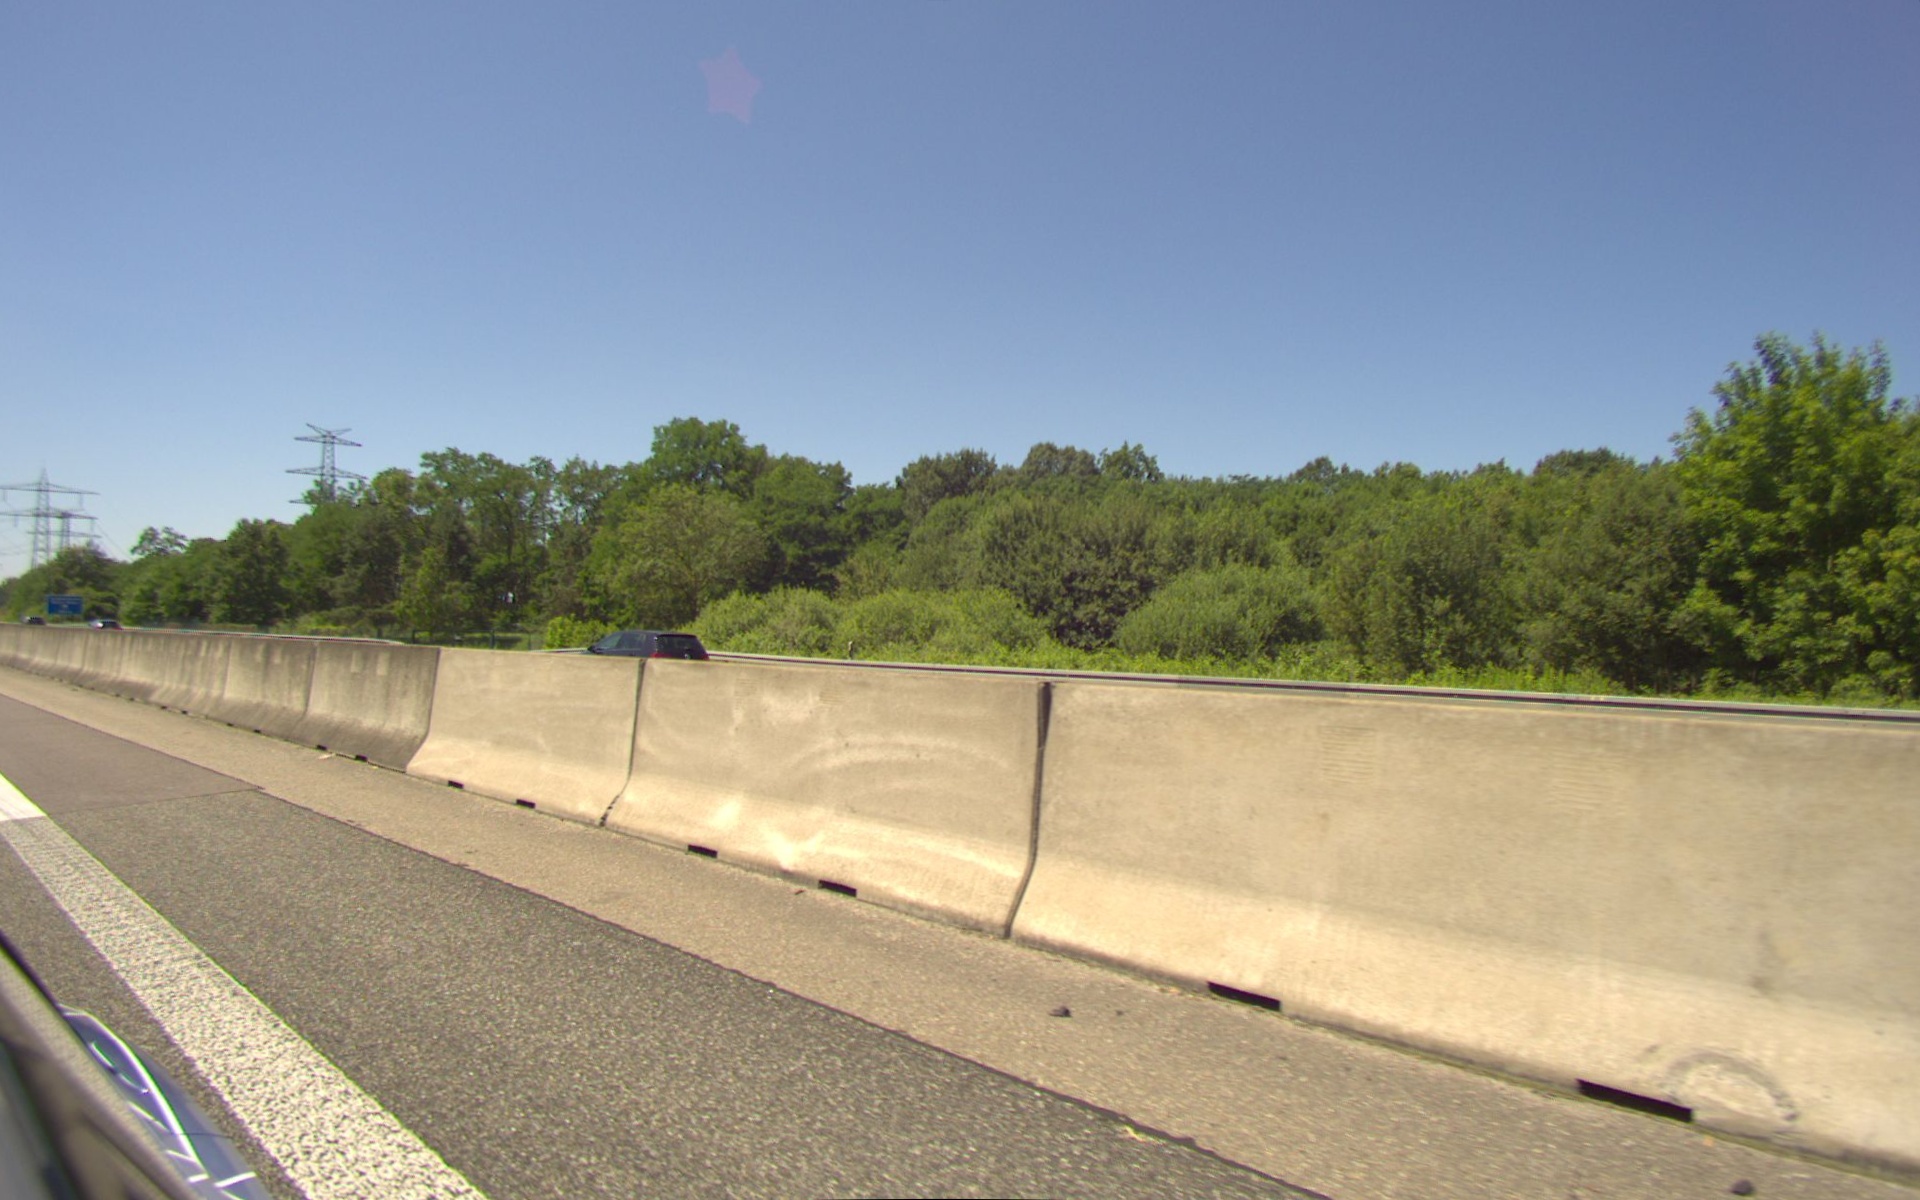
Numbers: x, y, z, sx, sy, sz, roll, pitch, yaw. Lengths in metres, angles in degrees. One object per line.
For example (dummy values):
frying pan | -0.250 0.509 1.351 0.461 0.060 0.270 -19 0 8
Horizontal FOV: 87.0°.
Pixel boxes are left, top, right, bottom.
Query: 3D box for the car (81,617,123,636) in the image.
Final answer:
car | -70.912 2.212 83.609 4.822 1.490 1.888 -1 -4 41

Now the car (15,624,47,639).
car | -101.876 3.422 110.953 4.681 1.570 1.973 -1 -4 41

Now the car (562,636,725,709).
car | -7.378 1.617 23.440 3.998 1.483 1.751 -1 -3 41
